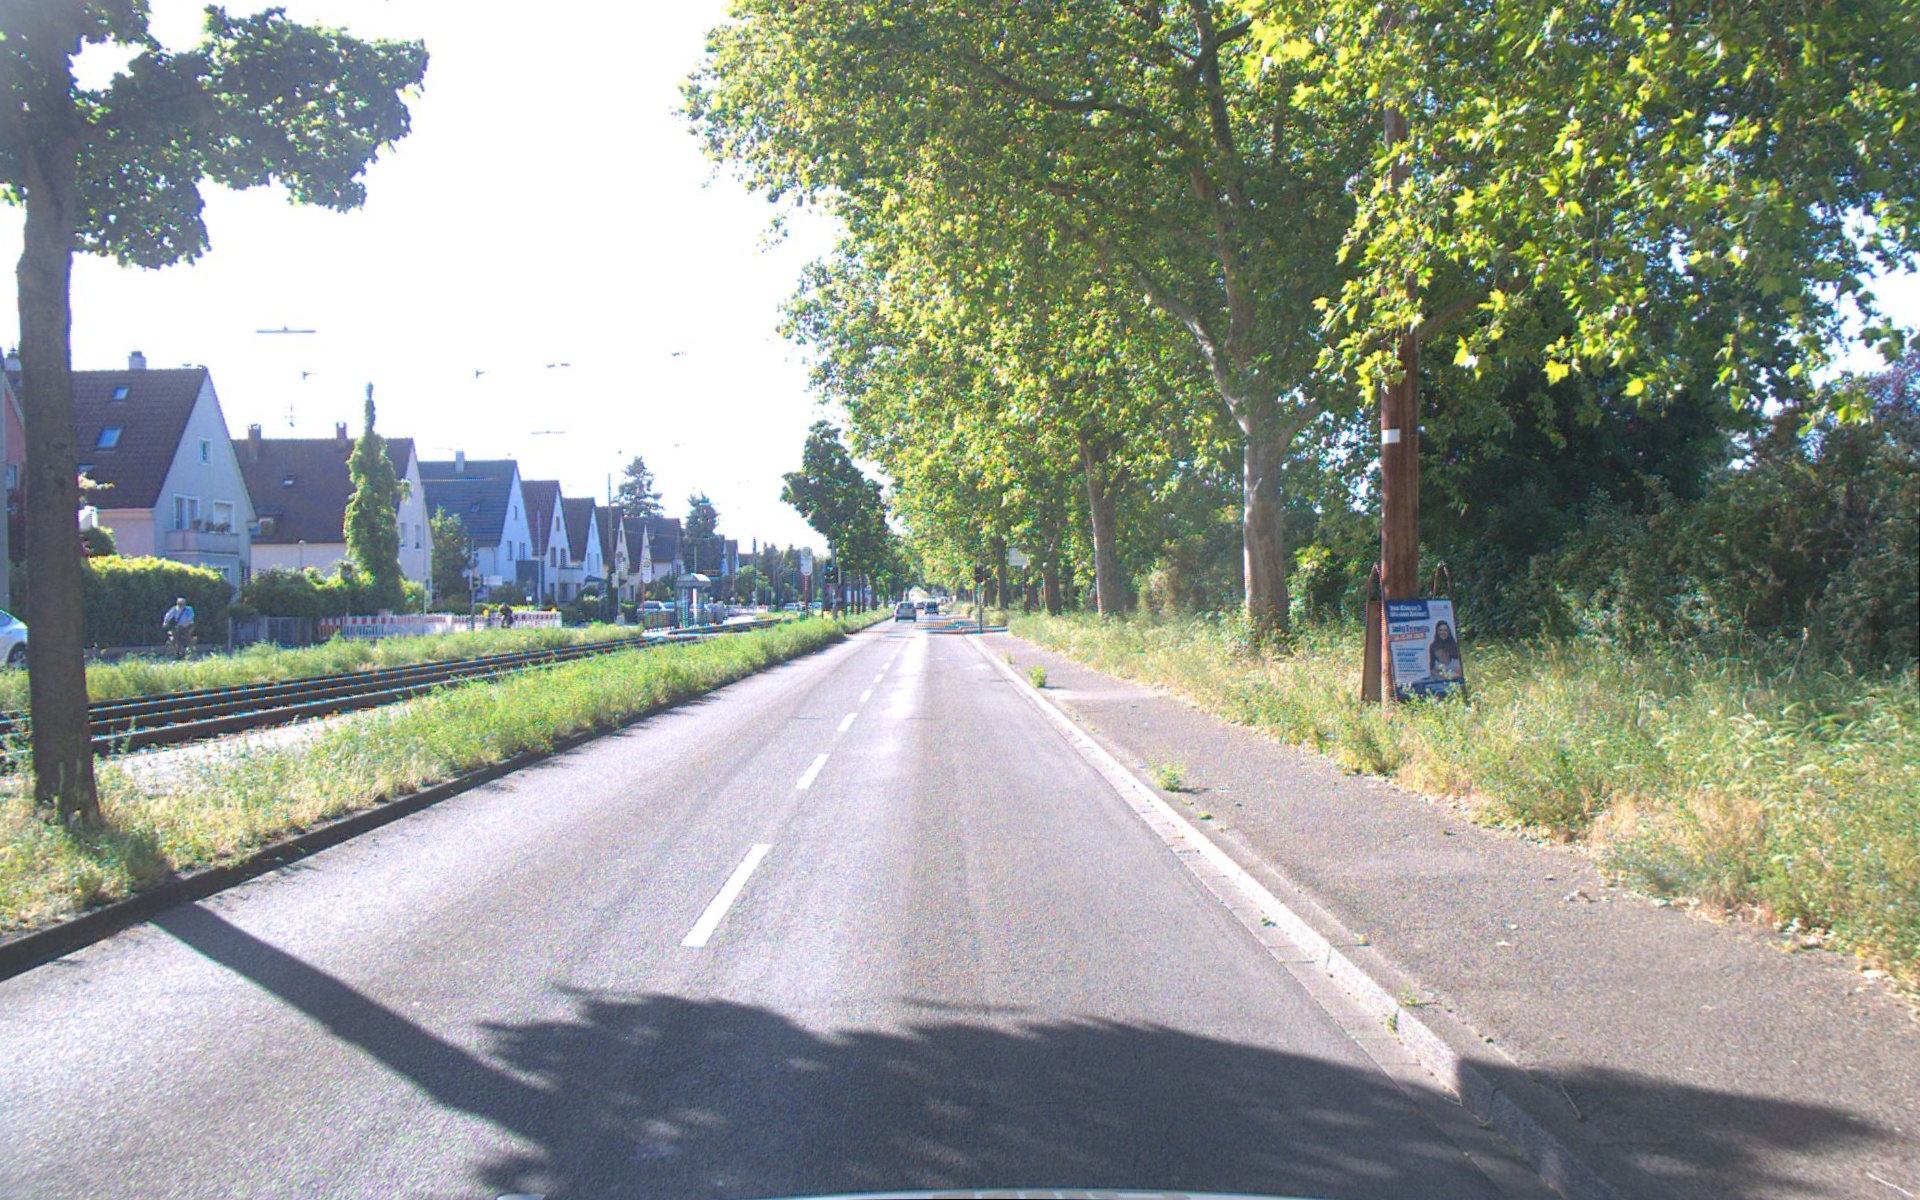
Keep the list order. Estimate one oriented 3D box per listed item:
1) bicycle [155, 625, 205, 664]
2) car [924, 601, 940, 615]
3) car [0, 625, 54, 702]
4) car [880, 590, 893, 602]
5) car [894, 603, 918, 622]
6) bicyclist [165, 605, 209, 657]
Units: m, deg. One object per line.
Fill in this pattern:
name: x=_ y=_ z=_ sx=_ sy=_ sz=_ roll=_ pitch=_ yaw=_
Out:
bicycle: x=-19.363 y=1.090 z=41.083 sx=0.432 sy=0.917 sz=2.059 roll=0 pitch=0 yaw=-5
car: x=-3.241 y=0.946 z=191.980 sx=1.725 sy=1.539 sz=3.276 roll=0 pitch=0 yaw=0
car: x=-21.728 y=1.378 z=35.335 sx=1.952 sy=1.627 sz=4.733 roll=0 pitch=0 yaw=2
car: x=-9.323 y=-0.441 z=208.979 sx=1.496 sy=1.480 sz=3.286 roll=0 pitch=0 yaw=0
car: x=-3.993 y=0.920 z=122.467 sx=1.703 sy=1.425 sz=3.276 roll=0 pitch=0 yaw=-1
bicyclist: x=-19.335 y=0.770 z=41.371 sx=0.783 sy=1.300 sz=0.735 roll=0 pitch=-1 yaw=-6
